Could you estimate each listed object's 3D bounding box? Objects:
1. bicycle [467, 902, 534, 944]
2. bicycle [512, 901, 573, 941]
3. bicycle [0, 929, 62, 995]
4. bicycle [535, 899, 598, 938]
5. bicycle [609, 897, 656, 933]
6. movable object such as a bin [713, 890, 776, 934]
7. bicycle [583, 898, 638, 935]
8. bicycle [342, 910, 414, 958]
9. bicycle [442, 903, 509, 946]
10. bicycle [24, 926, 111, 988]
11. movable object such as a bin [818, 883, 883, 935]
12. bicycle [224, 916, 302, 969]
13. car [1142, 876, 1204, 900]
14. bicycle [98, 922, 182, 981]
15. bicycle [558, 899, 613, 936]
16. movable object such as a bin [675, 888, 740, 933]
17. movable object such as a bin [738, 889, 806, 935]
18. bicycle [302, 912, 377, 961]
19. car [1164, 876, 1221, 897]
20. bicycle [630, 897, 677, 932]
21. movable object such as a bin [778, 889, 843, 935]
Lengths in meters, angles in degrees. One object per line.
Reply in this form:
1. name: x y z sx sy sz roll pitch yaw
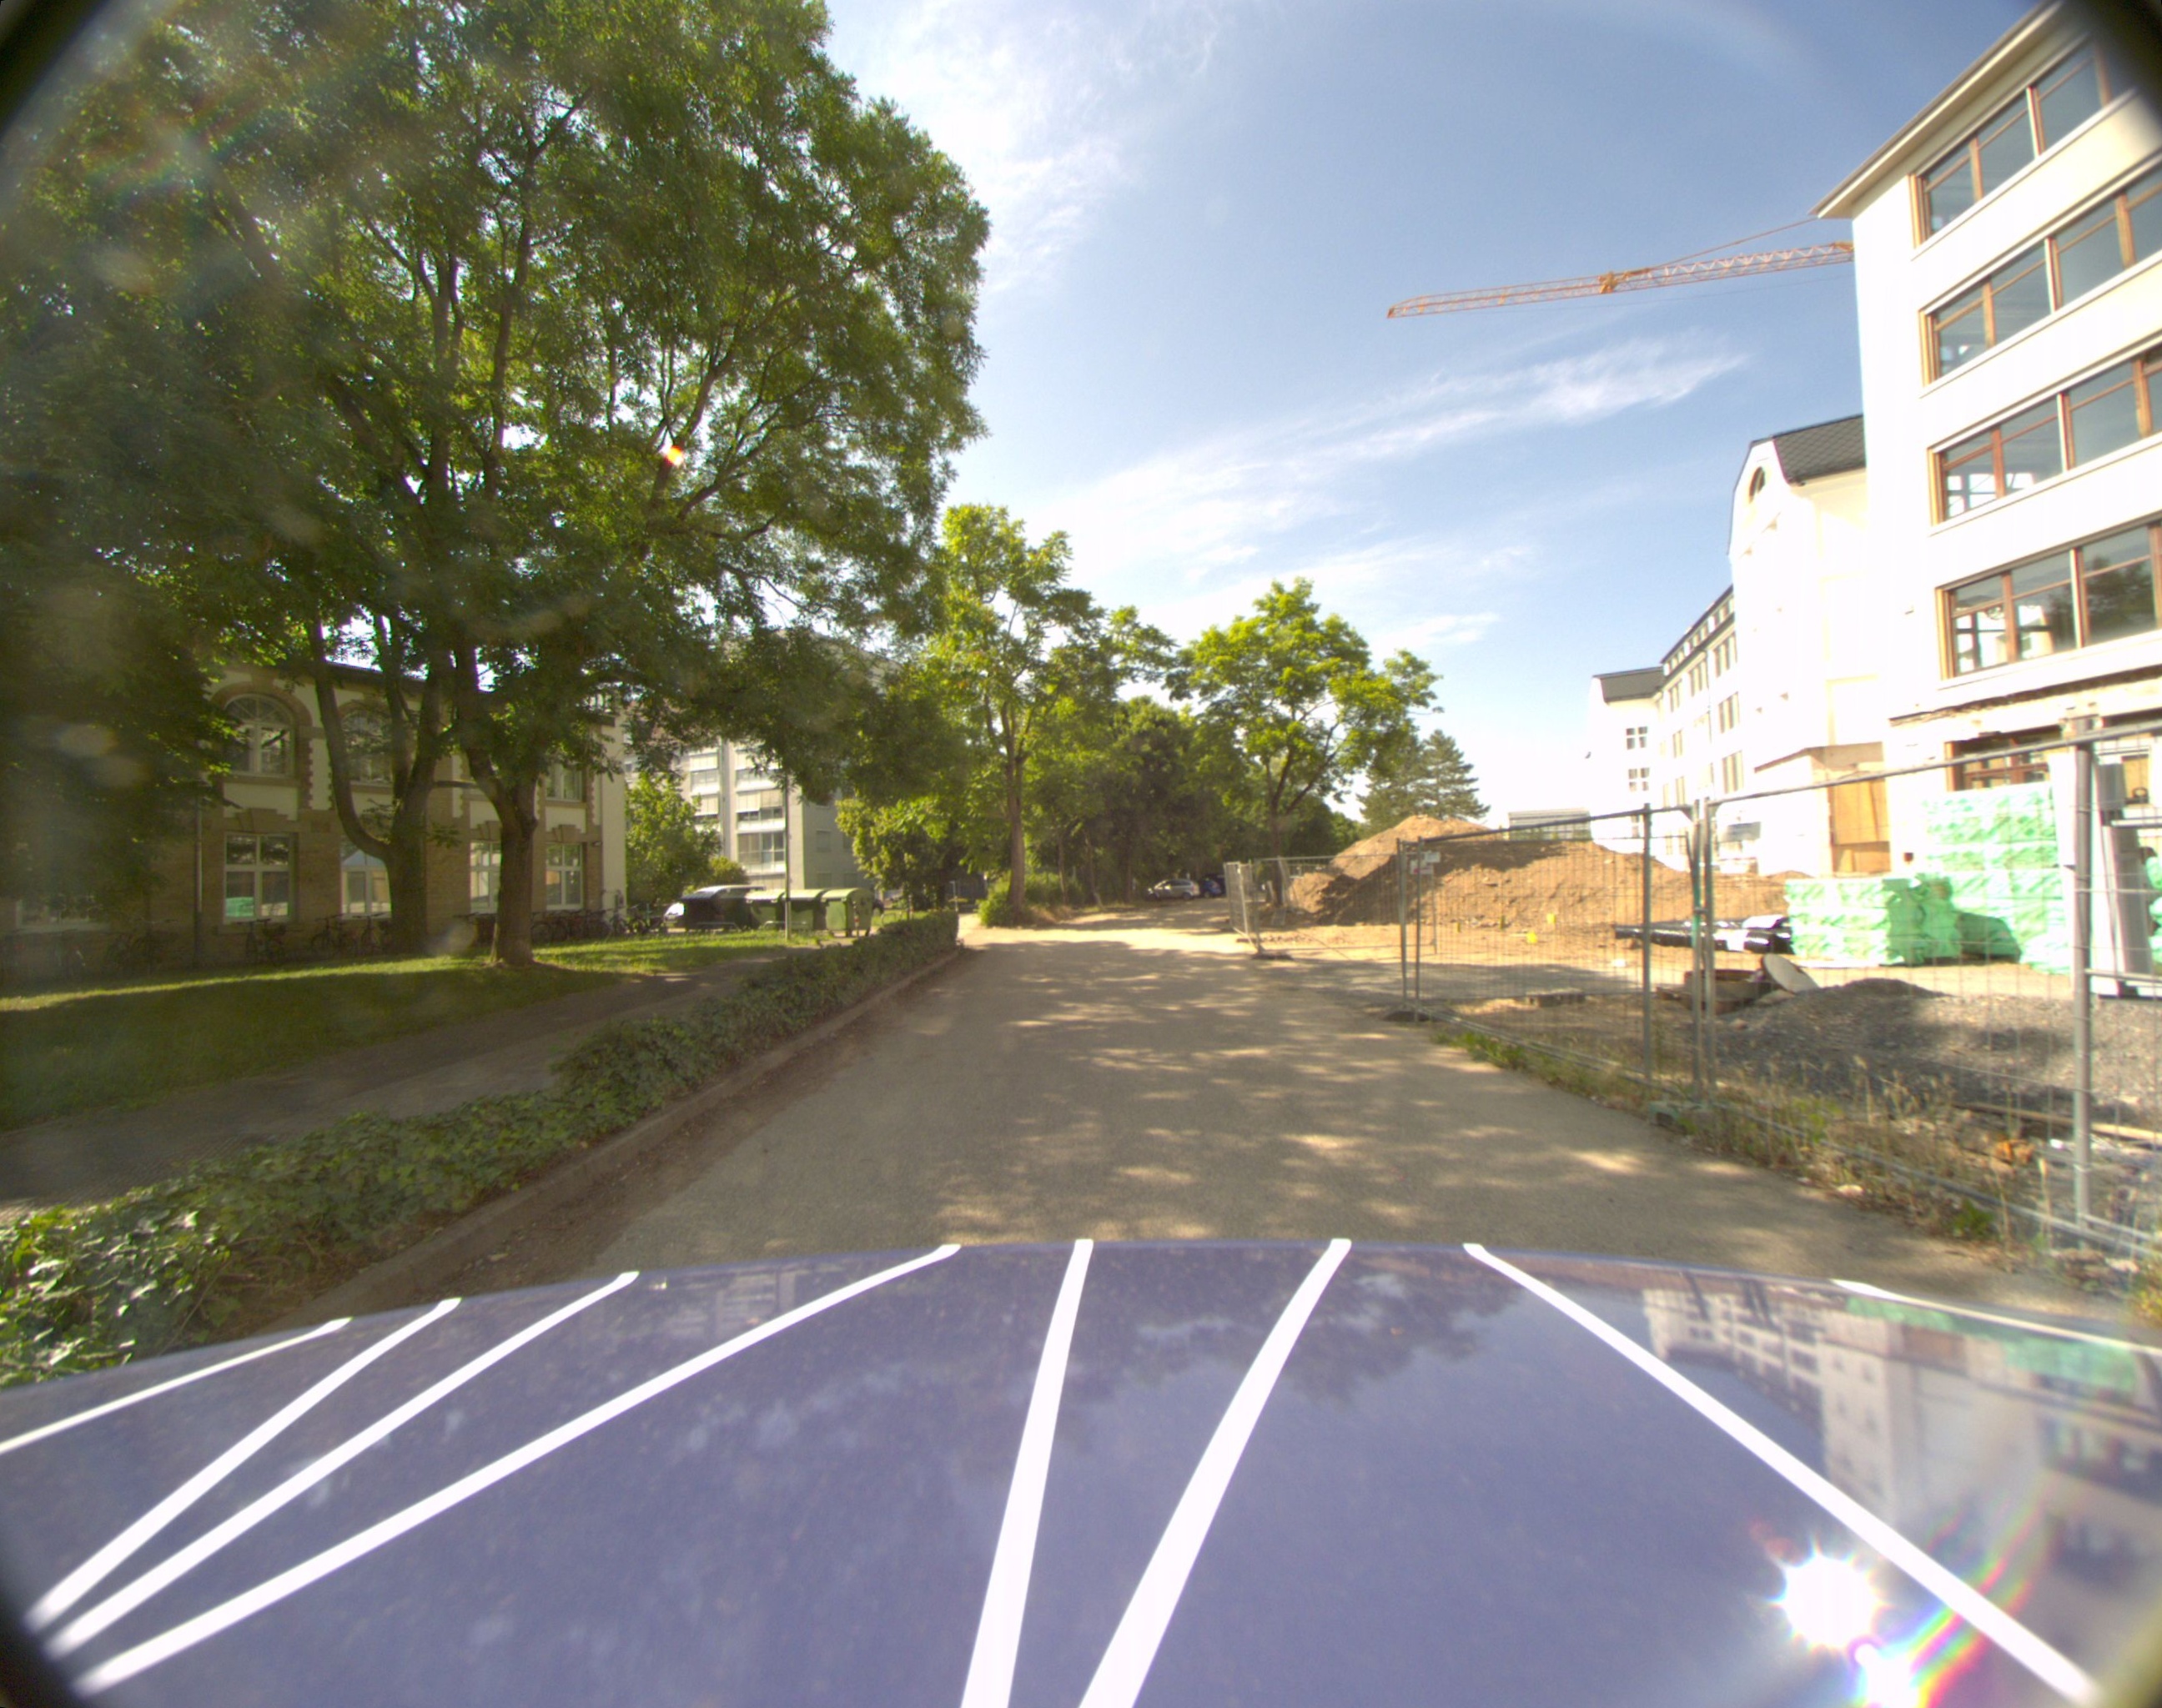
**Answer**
1. bicycle: -16.959 2.003 22.187 2.097 1.154 0.589 -3 -1 24
2. bicycle: -16.406 2.026 23.140 1.917 1.154 0.589 -3 -1 24
3. bicycle: -20.508 2.047 14.639 2.097 1.154 0.589 -3 -1 24
4. bicycle: -16.161 2.019 23.852 2.097 1.154 0.589 -3 -1 24
5. bicycle: -15.184 2.073 25.700 1.800 1.154 0.508 -3 -1 29
6. movable object such as a bin: -10.897 1.864 24.622 1.349 1.341 1.217 -2 -1 21
7. bicycle: -15.593 2.070 25.174 1.847 1.154 0.614 -3 -1 24
8. bicycle: -18.197 2.057 19.663 2.097 1.154 0.589 -3 -1 24
9. bicycle: -17.185 2.007 21.553 2.097 1.154 0.589 -3 -1 24
10. bicycle: -20.363 2.045 15.258 2.097 1.154 0.589 -3 -1 24
11. movable object such as a bin: -6.857 1.627 22.654 1.389 1.454 1.218 -3 -1 36
12. bicycle: -19.085 2.051 17.714 2.097 1.154 0.589 -3 -1 24
13. car: 6.513 2.395 53.814 3.991 1.499 2.003 -2 -2 19
14. bicycle: -19.919 2.044 16.082 2.097 1.154 0.589 -3 -1 24
15. bicycle: -15.904 2.041 24.366 1.909 1.154 0.495 -3 -1 24
16. movable object such as a bin: -12.370 1.862 25.169 1.433 1.401 1.252 -2 -1 20
17. movable object such as a bin: -9.647 1.799 23.732 1.499 1.353 1.217 -2 -1 21
18. bicycle: -18.486 2.047 18.941 2.097 1.154 0.589 -3 -1 24
19. car: 8.630 2.525 58.776 3.991 1.433 2.003 -2 -2 19
20. bicycle: -14.713 2.073 26.139 1.940 1.154 0.558 -3 -1 34
21. movable object such as a bin: -8.249 1.767 23.198 1.352 1.292 1.217 -2 -1 21
